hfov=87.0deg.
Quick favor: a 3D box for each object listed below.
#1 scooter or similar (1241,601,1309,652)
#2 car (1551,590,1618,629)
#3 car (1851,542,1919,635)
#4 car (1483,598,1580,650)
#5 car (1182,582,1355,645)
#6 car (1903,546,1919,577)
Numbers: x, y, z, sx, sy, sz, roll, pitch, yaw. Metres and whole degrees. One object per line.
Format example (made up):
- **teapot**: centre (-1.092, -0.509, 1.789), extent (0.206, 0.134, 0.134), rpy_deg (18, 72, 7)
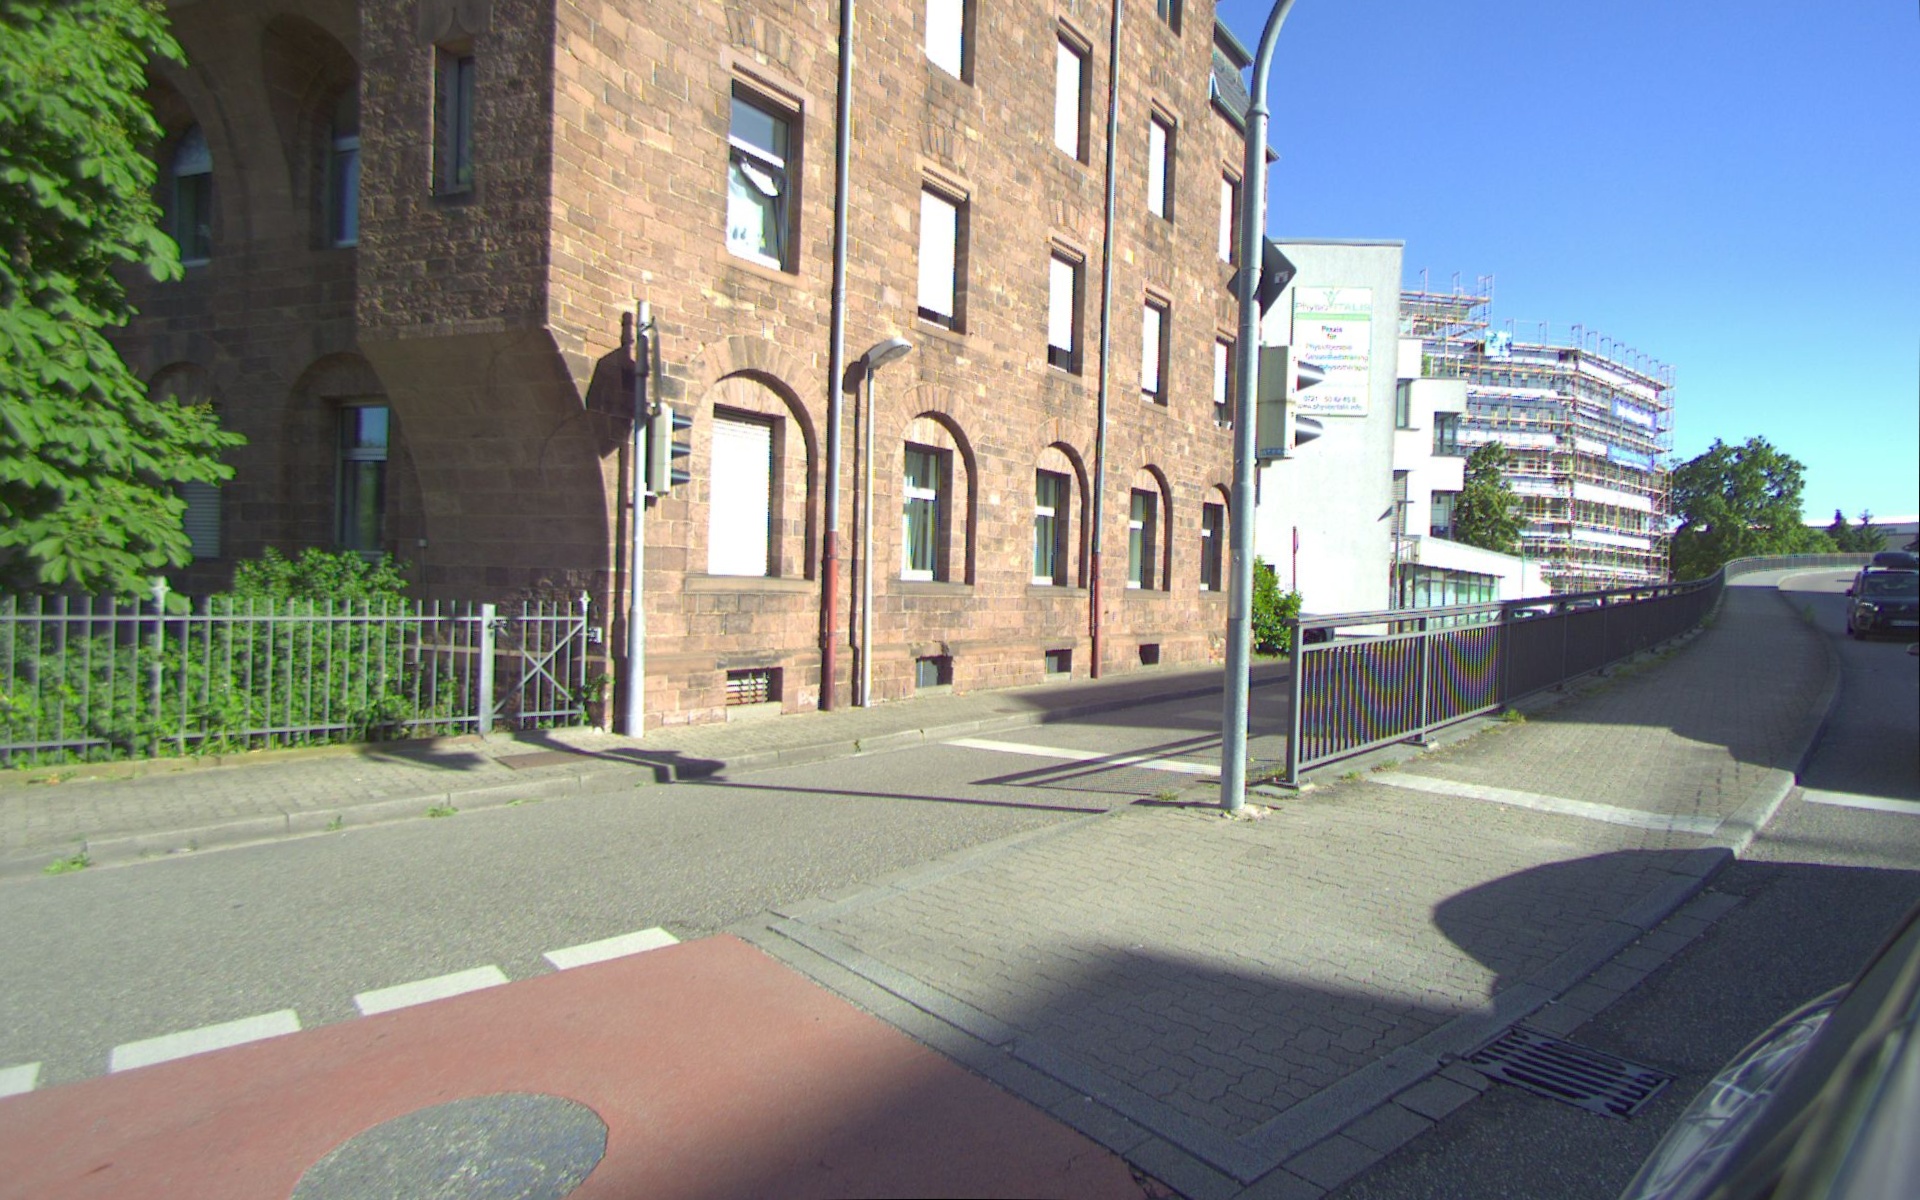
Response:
- **scooter or similar**: centre (7.898, 0.657, 25.381), extent (1.453, 1.234, 0.775), rpy_deg (-1, -1, 35)
- **car**: centre (27.580, 0.402, 44.656), extent (1.843, 1.554, 3.940), rpy_deg (3, 2, 41)
- **car**: centre (24.640, -0.365, 26.296), extent (1.901, 2.241, 4.538), rpy_deg (1, 3, 37)
- **car**: centre (19.113, 0.749, 33.768), extent (1.844, 1.448, 4.611), rpy_deg (1, 3, 42)
- **car**: centre (9.089, 0.372, 30.064), extent (4.562, 1.789, 1.828), rpy_deg (0, 2, 2)
- **car**: centre (65.941, -2.594, 69.199), extent (1.995, 1.959, 4.773), rpy_deg (3, 1, 45)
